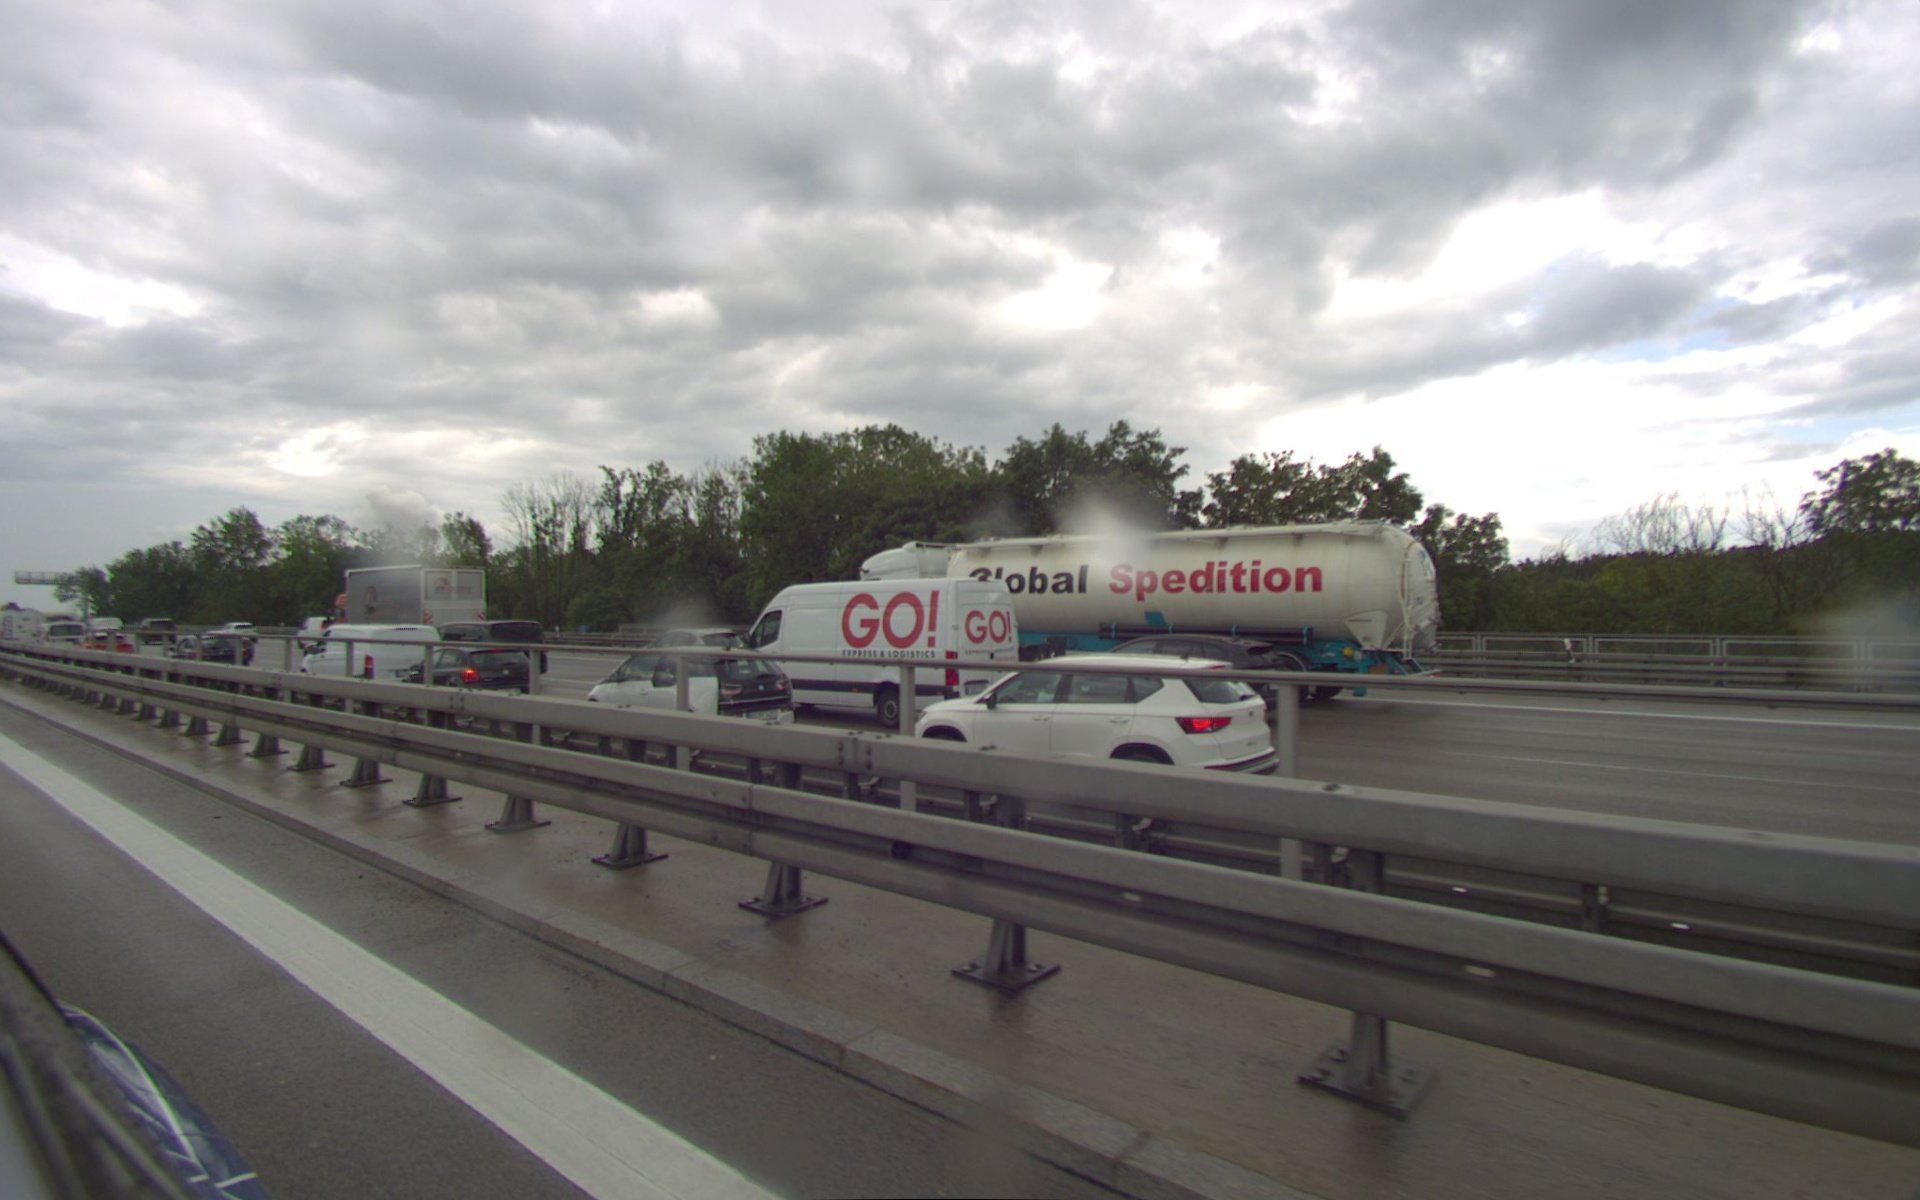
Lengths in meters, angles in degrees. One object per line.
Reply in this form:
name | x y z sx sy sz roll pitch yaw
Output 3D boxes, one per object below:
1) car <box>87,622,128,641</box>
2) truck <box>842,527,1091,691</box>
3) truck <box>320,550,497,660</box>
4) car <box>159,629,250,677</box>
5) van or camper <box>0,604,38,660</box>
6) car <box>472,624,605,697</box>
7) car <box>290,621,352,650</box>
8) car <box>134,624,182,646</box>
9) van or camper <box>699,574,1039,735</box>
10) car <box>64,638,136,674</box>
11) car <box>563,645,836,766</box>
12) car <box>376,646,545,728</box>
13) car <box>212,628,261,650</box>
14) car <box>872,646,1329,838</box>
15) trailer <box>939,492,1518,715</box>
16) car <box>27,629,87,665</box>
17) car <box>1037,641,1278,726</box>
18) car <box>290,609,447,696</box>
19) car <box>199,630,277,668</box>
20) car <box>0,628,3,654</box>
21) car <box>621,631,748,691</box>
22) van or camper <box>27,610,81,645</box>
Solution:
car | -69.967 2.564 83.051 3.998 1.524 1.999 -1 -2 41
truck | 0.010 0.301 27.924 6.978 3.995 2.436 -1 -2 41
truck | -24.334 0.324 44.298 10.862 4.325 3.224 -1 -2 41
car | -25.751 1.752 34.466 3.998 1.517 1.652 -1 -2 41
van or camper | -60.151 2.011 64.120 4.365 3.427 1.981 -1 -2 40
car | -11.638 1.602 27.845 4.111 1.854 1.688 -1 -2 40
car | -38.276 2.105 60.592 4.329 1.714 1.999 -1 -2 41
car | -58.076 2.502 73.293 3.998 1.524 1.999 -1 -2 41
van or camper | -2.062 0.956 19.727 7.454 2.624 2.012 -1 -2 41
car | -37.518 2.407 44.110 4.031 1.484 1.735 -1 -2 40
car | -4.125 1.500 15.621 4.599 1.522 1.772 -1 -2 40
car | -10.614 1.753 21.384 4.223 1.500 1.663 -1 -2 40
car | -52.206 2.822 73.008 3.998 1.524 1.999 -1 -2 41
car | 1.371 1.379 11.374 4.923 1.640 1.772 -1 -2 40
trailer | 5.215 0.199 23.394 13.212 3.988 2.436 -1 -2 41
car | -48.292 2.477 54.093 4.031 1.856 1.803 -1 -2 40
car | 3.639 1.496 19.160 4.321 1.376 1.482 -1 -2 41
car | -14.929 1.261 25.432 5.033 2.001 1.835 -1 -2 40
car | -32.738 2.157 45.847 4.418 1.628 1.907 -1 -2 41
car | -74.459 3.102 77.038 3.998 1.982 1.973 -1 -2 41
car | -8.053 1.709 29.420 3.998 1.628 1.603 -1 -2 41
van or camper | -70.267 2.119 78.429 5.418 2.597 2.423 -1 -2 41
